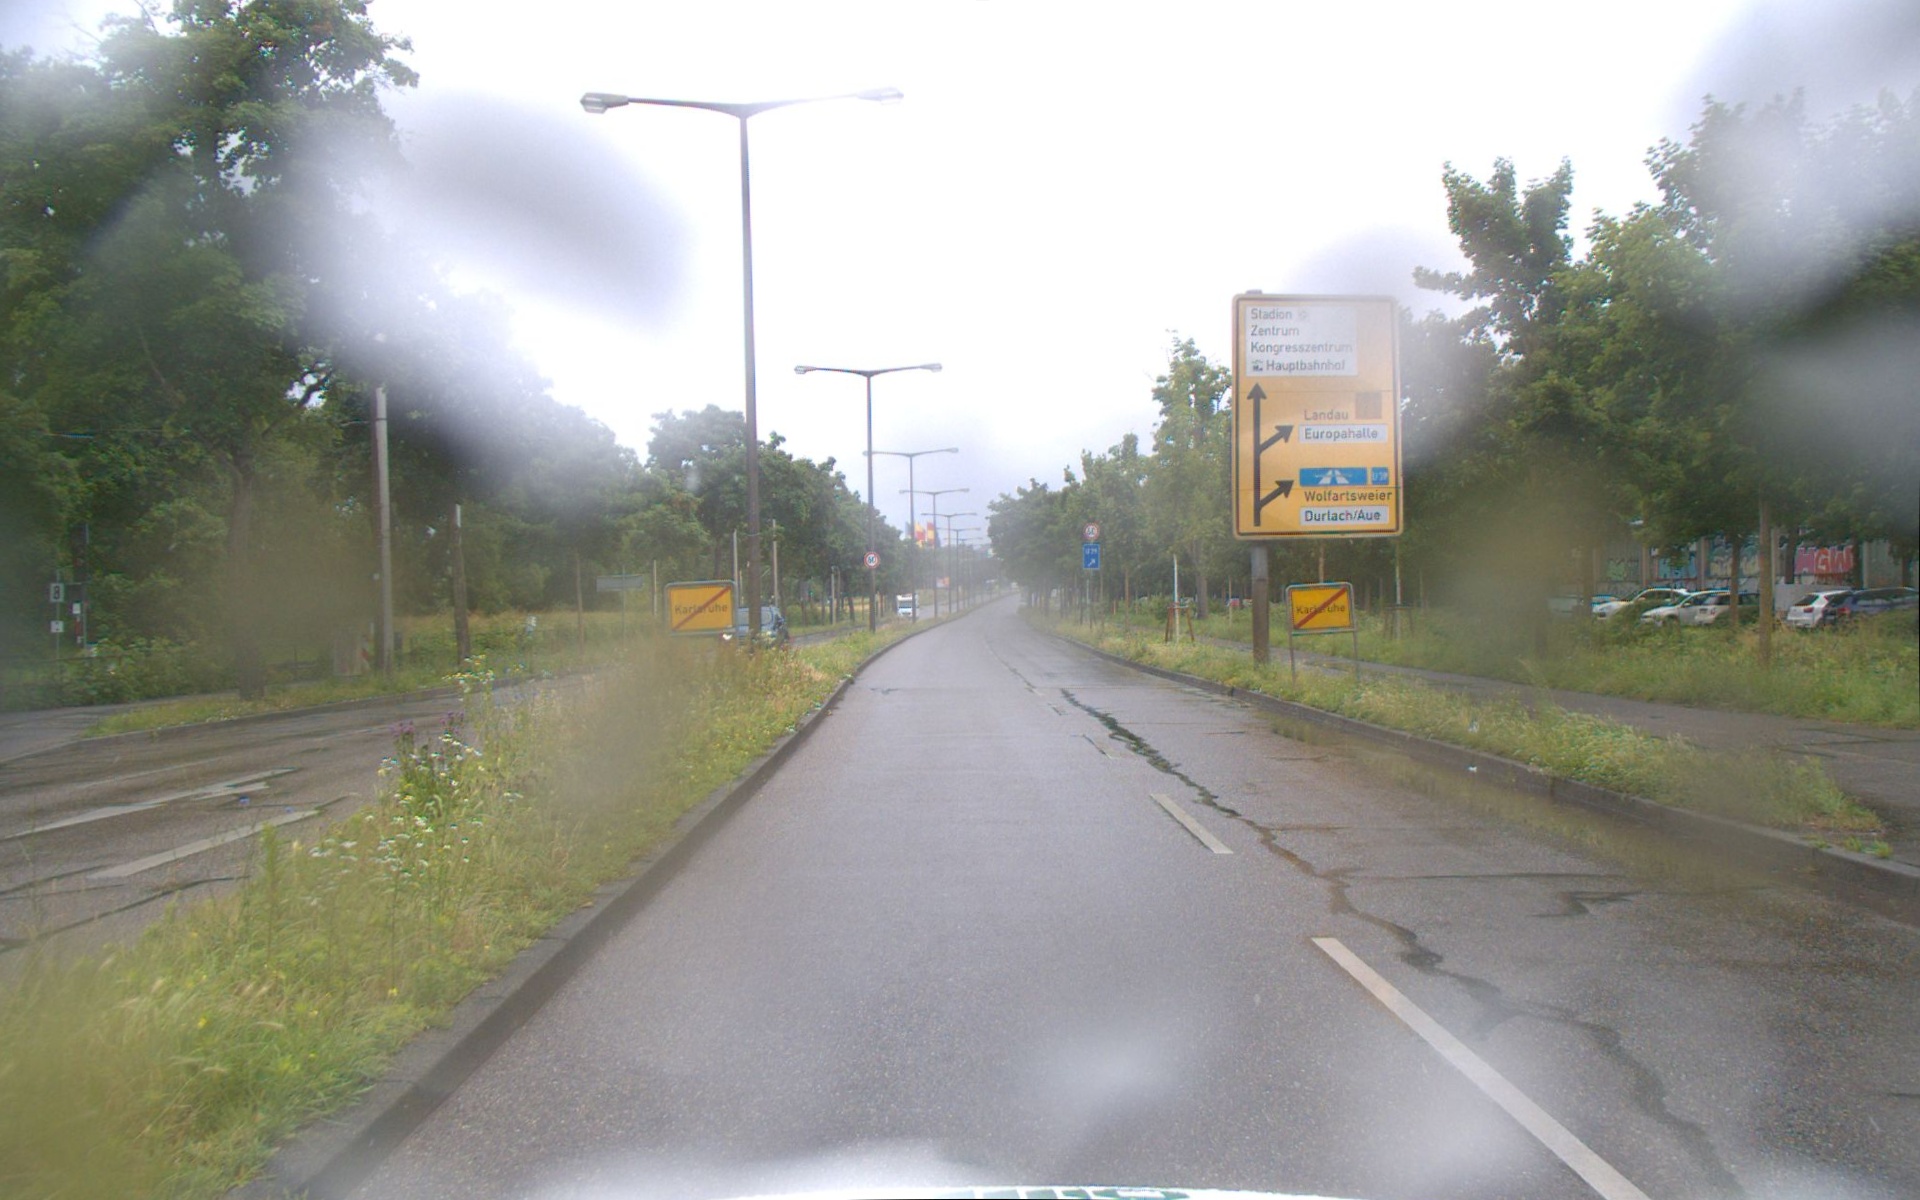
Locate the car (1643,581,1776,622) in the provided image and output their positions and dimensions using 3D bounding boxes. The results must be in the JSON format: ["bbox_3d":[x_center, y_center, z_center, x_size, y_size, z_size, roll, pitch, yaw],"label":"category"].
[{"bbox_3d":[30.105,0.074,66.524,4.473,1.585,1.946,1,-1,4],"label":"car"}]

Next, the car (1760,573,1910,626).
[{"bbox_3d":[30.463,-0.012,57.674,4.247,1.755,1.944,1,-1,-3],"label":"car"}]

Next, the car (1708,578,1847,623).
[{"bbox_3d":[30.211,0.044,61.196,4.247,1.585,1.944,1,-1,-3],"label":"car"}]

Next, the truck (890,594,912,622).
[{"bbox_3d":[-6.506,0.903,182.297,2.094,2.893,5.072,-3,-1,0],"label":"truck"}]

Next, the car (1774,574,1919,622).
[{"bbox_3d":[29.350,-0.055,54.599,4.105,1.510,1.760,1,-1,-3],"label":"car"}]

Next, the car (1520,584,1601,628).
[{"bbox_3d":[22.293,0.192,61.520,1.708,1.470,4.124,-2,1,3],"label":"car"}]

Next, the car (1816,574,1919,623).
[{"bbox_3d":[29.162,-0.024,51.564,4.046,1.485,1.790,1,-1,0],"label":"car"}]

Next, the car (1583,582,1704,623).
[{"bbox_3d":[29.791,0.127,72.138,4.478,1.735,1.999,1,-1,-3],"label":"car"}]

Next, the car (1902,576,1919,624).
[{"bbox_3d":[29.257,0.024,46.869,4.095,1.363,1.866,1,-1,-3],"label":"car"}]

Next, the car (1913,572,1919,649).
[{"bbox_3d":[21.497,0.172,33.306,1.952,1.654,4.642,-2,-1,1],"label":"car"}]

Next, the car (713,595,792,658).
[{"bbox_3d":[-6.089,0.750,48.881,1.708,1.679,4.136,-4,0,0],"label":"car"}]
